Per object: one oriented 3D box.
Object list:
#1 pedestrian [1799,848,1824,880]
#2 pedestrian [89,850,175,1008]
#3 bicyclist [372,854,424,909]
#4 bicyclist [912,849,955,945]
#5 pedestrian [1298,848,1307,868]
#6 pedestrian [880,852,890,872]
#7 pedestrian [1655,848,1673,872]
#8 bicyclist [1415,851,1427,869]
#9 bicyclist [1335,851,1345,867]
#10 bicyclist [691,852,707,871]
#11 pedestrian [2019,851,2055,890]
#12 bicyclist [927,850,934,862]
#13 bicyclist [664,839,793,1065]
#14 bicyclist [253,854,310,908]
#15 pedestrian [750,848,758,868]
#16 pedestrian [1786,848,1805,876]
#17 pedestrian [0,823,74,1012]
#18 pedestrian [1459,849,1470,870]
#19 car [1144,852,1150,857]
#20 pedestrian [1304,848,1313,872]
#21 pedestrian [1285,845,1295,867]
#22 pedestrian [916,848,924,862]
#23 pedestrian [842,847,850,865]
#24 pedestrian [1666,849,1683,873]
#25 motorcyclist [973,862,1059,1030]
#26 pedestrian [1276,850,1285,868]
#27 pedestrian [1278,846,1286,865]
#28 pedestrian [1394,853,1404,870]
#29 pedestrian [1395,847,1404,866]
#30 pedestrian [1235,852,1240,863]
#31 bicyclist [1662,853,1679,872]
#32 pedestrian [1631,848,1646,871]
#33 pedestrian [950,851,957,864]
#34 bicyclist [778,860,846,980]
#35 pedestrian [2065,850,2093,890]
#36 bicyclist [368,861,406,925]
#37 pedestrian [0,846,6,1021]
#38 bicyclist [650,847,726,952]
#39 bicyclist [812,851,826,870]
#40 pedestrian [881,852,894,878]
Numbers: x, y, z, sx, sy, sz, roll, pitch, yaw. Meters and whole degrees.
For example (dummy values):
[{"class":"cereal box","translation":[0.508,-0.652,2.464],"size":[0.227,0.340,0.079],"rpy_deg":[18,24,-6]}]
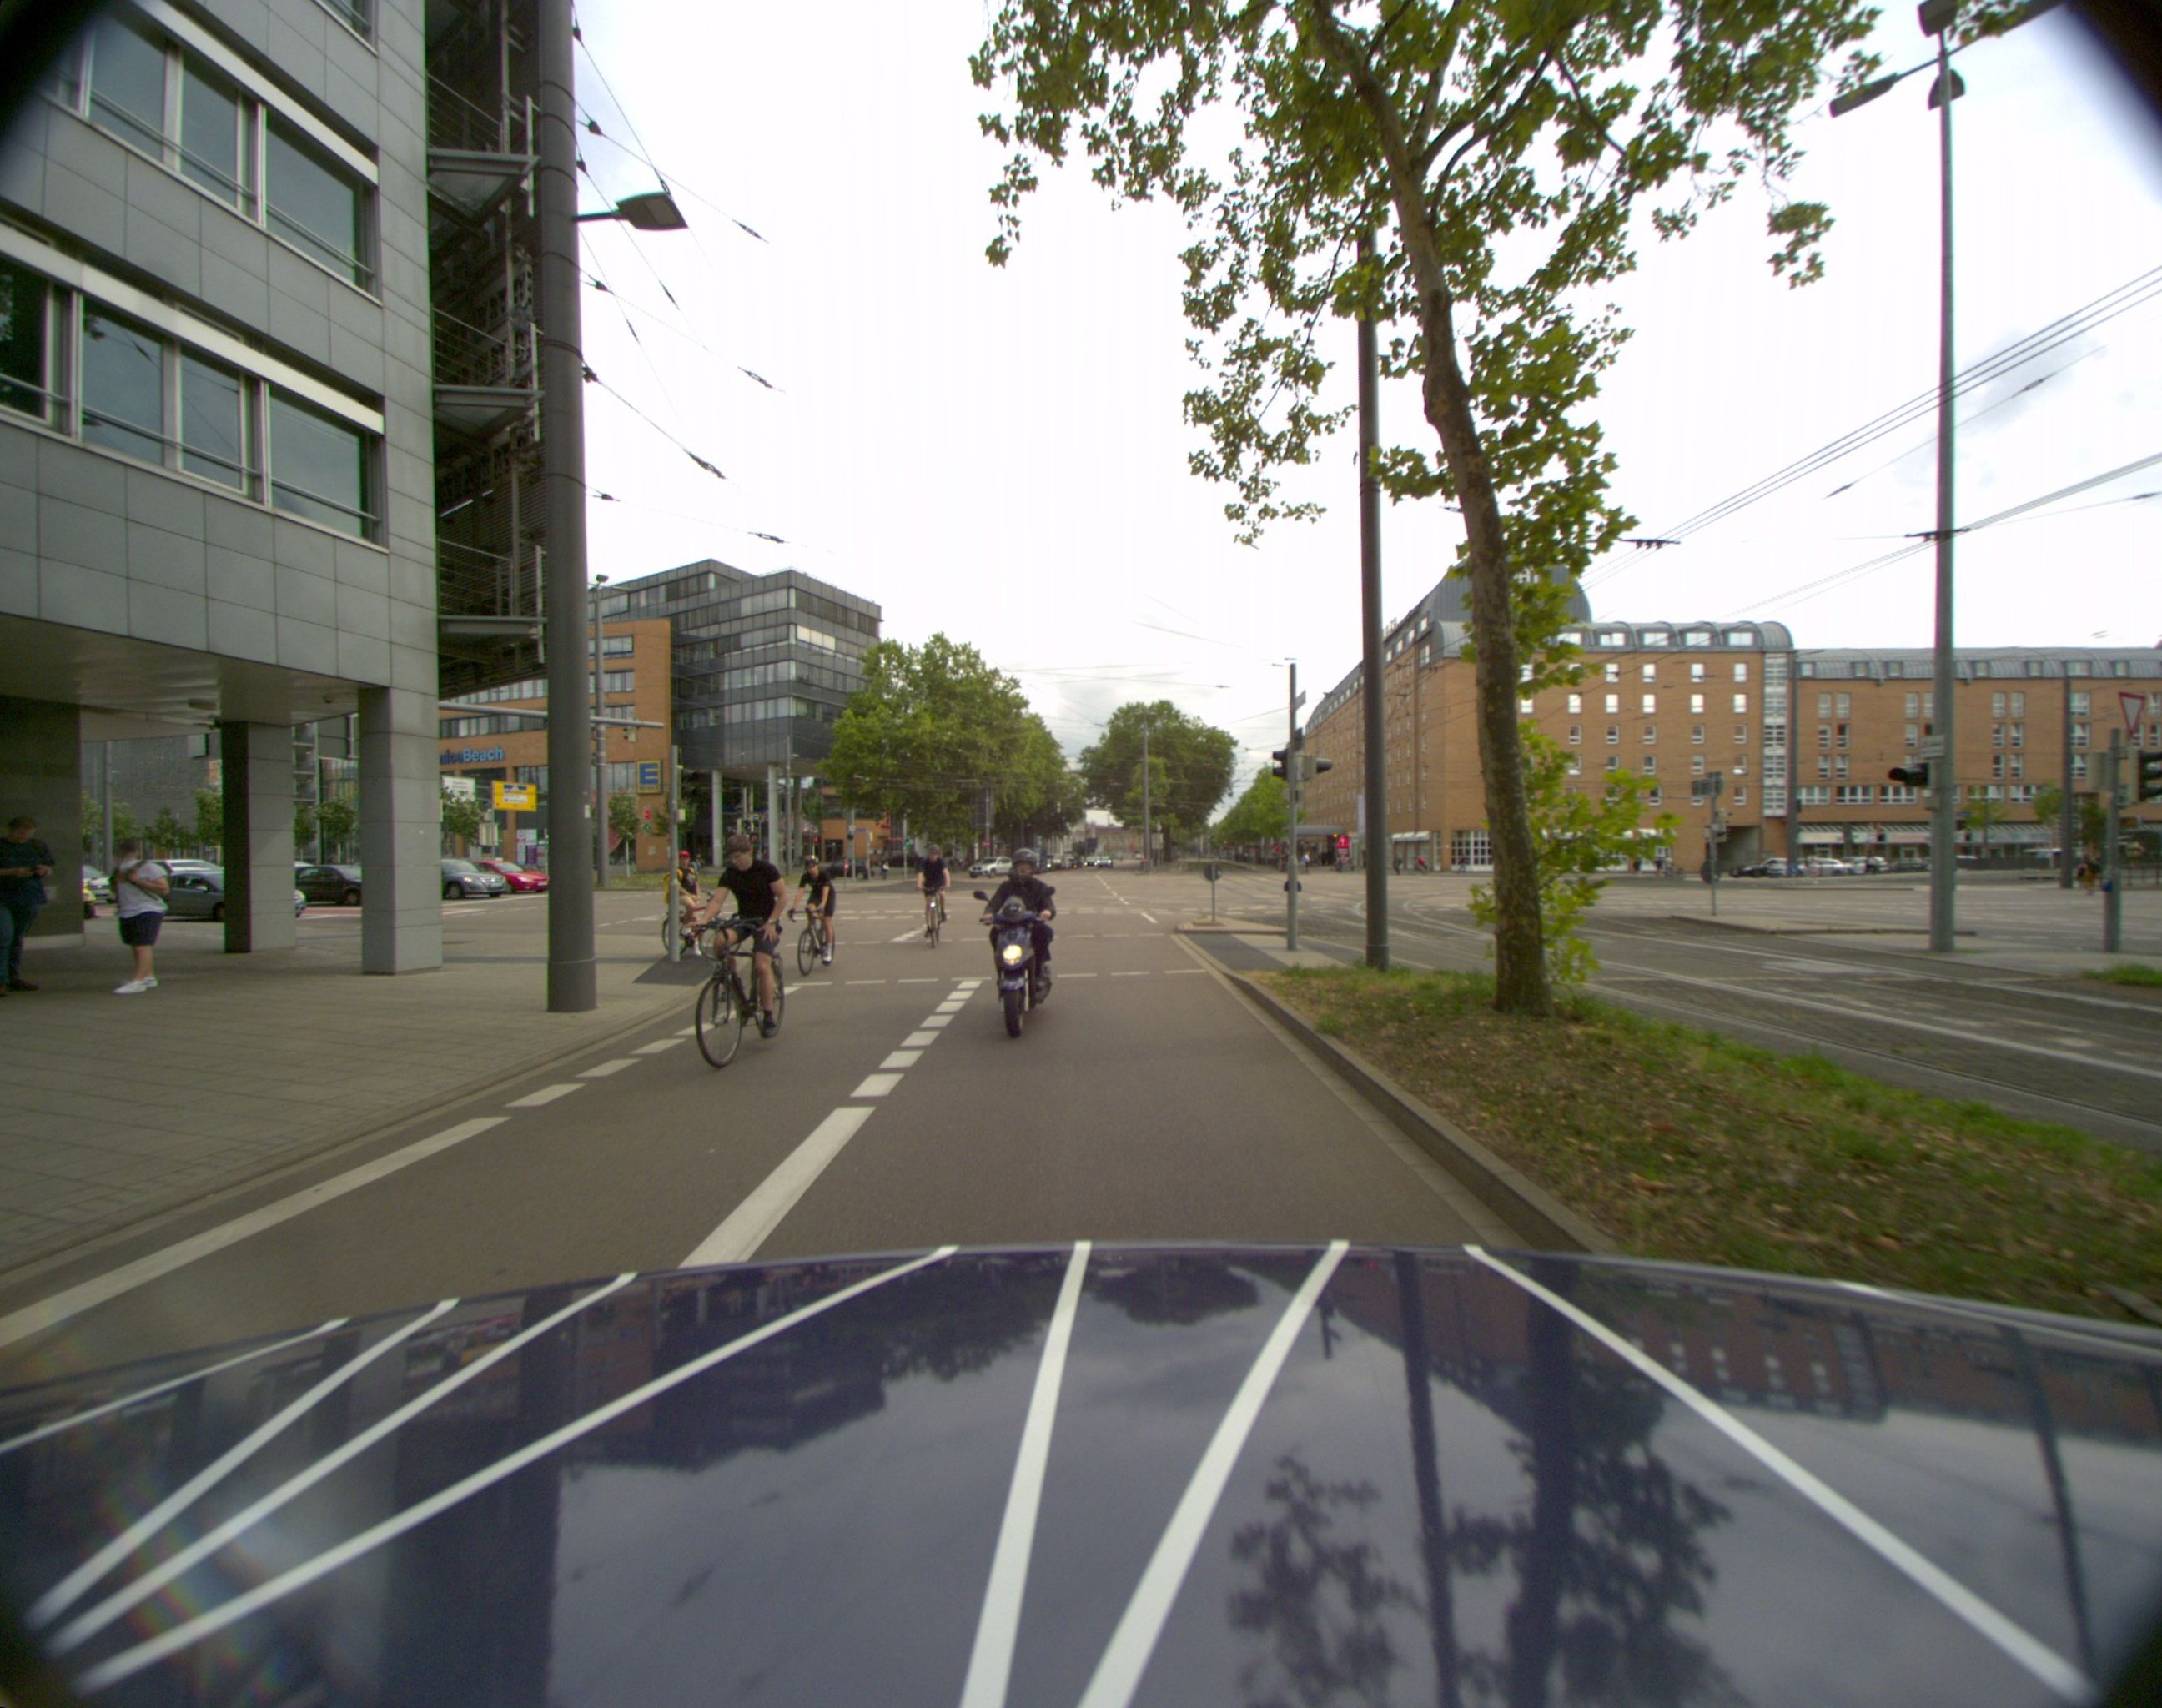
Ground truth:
[{"class":"pedestrian","translation":[39.682,0.523,41.271],"size":[0.578,1.722,0.751],"rpy_deg":[0,2,-1]},{"class":"pedestrian","translation":[-10.718,0.819,8.597],"size":[0.494,1.716,0.557],"rpy_deg":[0,0,43]},{"class":"bicyclist","translation":[-21.257,0.841,23.665],"size":[0.979,1.657,0.675],"rpy_deg":[0,3,11]},{"class":"bicyclist","translation":[-2.788,0.788,14.407],"size":[0.591,1.760,1.035],"rpy_deg":[0,1,2]},{"class":"pedestrian","translation":[19.507,0.336,66.957],"size":[0.564,1.696,0.578],"rpy_deg":[0,2,-7]},{"class":"pedestrian","translation":[-16.903,0.704,65.617],"size":[0.587,1.722,0.744],"rpy_deg":[0,1,9]},{"class":"pedestrian","translation":[41.458,0.418,54.035],"size":[0.578,1.722,0.750],"rpy_deg":[0,2,-5]},{"class":"bicyclist","translation":[29.548,0.501,66.013],"size":[0.864,1.493,0.637],"rpy_deg":[1,2,19]},{"class":"bicyclist","translation":[25.511,0.475,74.949],"size":[0.651,1.493,0.817],"rpy_deg":[0,2,-3]},{"class":"bicyclist","translation":[-32.987,0.653,65.628],"size":[0.977,1.607,0.638],"rpy_deg":[0,2,8]},{"class":"pedestrian","translation":[42.752,0.723,33.979],"size":[0.578,1.722,0.751],"rpy_deg":[0,2,-1]},{"class":"bicyclist","translation":[-17.448,0.259,87.918],"size":[0.531,1.424,0.739],"rpy_deg":[0,2,12]},{"class":"bicyclist","translation":[-2.939,0.764,6.435],"size":[0.591,1.758,1.035],"rpy_deg":[0,1,2]},{"class":"bicyclist","translation":[-25.181,0.842,23.947],"size":[0.979,1.657,0.745],"rpy_deg":[0,3,11]},{"class":"pedestrian","translation":[-30.968,0.345,71.957],"size":[0.627,1.855,0.671],"rpy_deg":[0,1,-34]},{"class":"pedestrian","translation":[45.333,0.508,48.227],"size":[0.632,1.722,0.578],"rpy_deg":[0,2,-10]},{"class":"pedestrian","translation":[-11.743,0.681,8.270],"size":[0.603,2.001,0.675],"rpy_deg":[0,-2,8]},{"class":"pedestrian","translation":[32.559,0.475,64.475],"size":[0.750,1.722,0.579],"rpy_deg":[0,1,13]},{"class":"car","translation":[20.790,0.110,239.877],"size":[1.668,1.699,3.999],"rpy_deg":[0,1,-1]},{"class":"pedestrian","translation":[19.670,0.515,65.580],"size":[0.564,2.118,0.534],"rpy_deg":[0,2,-7]},{"class":"pedestrian","translation":[18.638,0.204,67.721],"size":[0.693,1.941,0.534],"rpy_deg":[0,2,-1]},{"class":"pedestrian","translation":[-19.128,0.106,90.203],"size":[0.586,1.722,0.745],"rpy_deg":[2,2,45]},{"class":"pedestrian","translation":[-23.880,0.172,77.315],"size":[0.545,1.855,0.515],"rpy_deg":[0,1,28]},{"class":"pedestrian","translation":[42.214,0.475,54.080],"size":[0.578,1.722,0.750],"rpy_deg":[0,2,-5]},{"class":"motorcyclist","translation":[-0.611,0.853,7.488],"size":[0.761,1.510,1.017],"rpy_deg":[0,1,-1]},{"class":"pedestrian","translation":[18.390,0.466,70.035],"size":[0.684,1.696,0.534],"rpy_deg":[0,2,-7]},{"class":"pedestrian","translation":[18.967,0.140,71.615],"size":[0.564,1.696,0.534],"rpy_deg":[0,2,-7]},{"class":"pedestrian","translation":[29.878,0.696,71.416],"size":[0.536,1.498,0.648],"rpy_deg":[-1,2,-33]},{"class":"pedestrian","translation":[28.237,0.246,67.456],"size":[0.563,1.696,0.535],"rpy_deg":[0,2,1]},{"class":"pedestrian","translation":[24.243,0.563,117.874],"size":[0.648,1.696,0.624],"rpy_deg":[0,1,6]},{"class":"bicyclist","translation":[46.444,0.668,59.884],"size":[0.865,1.492,0.636],"rpy_deg":[0,1,-1]},{"class":"pedestrian","translation":[41.958,0.391,57.200],"size":[0.578,1.722,0.750],"rpy_deg":[0,1,-5]},{"class":"pedestrian","translation":[-16.173,0.443,96.280],"size":[0.586,1.502,0.683],"rpy_deg":[1,2,25]},{"class":"bicyclist","translation":[-3.893,0.923,11.055],"size":[0.591,1.644,1.035],"rpy_deg":[0,1,2]},{"class":"pedestrian","translation":[42.170,0.662,32.106],"size":[0.482,1.699,0.460],"rpy_deg":[0,1,4]},{"class":"bicyclist","translation":[-19.386,1.071,21.240],"size":[0.662,1.666,1.032],"rpy_deg":[-3,4,-40]},{"class":"pedestrian","translation":[-10.872,0.771,7.181],"size":[0.546,1.716,0.644],"rpy_deg":[0,0,12]},{"class":"bicyclist","translation":[-6.778,0.753,13.129],"size":[0.914,1.754,0.720],"rpy_deg":[1,1,19]},{"class":"bicyclist","translation":[-22.462,0.579,65.139],"size":[0.977,1.606,0.638],"rpy_deg":[0,1,8]},{"class":"pedestrian","translation":[-13.039,0.739,51.201],"size":[0.678,1.781,0.669],"rpy_deg":[0,1,3]}]
